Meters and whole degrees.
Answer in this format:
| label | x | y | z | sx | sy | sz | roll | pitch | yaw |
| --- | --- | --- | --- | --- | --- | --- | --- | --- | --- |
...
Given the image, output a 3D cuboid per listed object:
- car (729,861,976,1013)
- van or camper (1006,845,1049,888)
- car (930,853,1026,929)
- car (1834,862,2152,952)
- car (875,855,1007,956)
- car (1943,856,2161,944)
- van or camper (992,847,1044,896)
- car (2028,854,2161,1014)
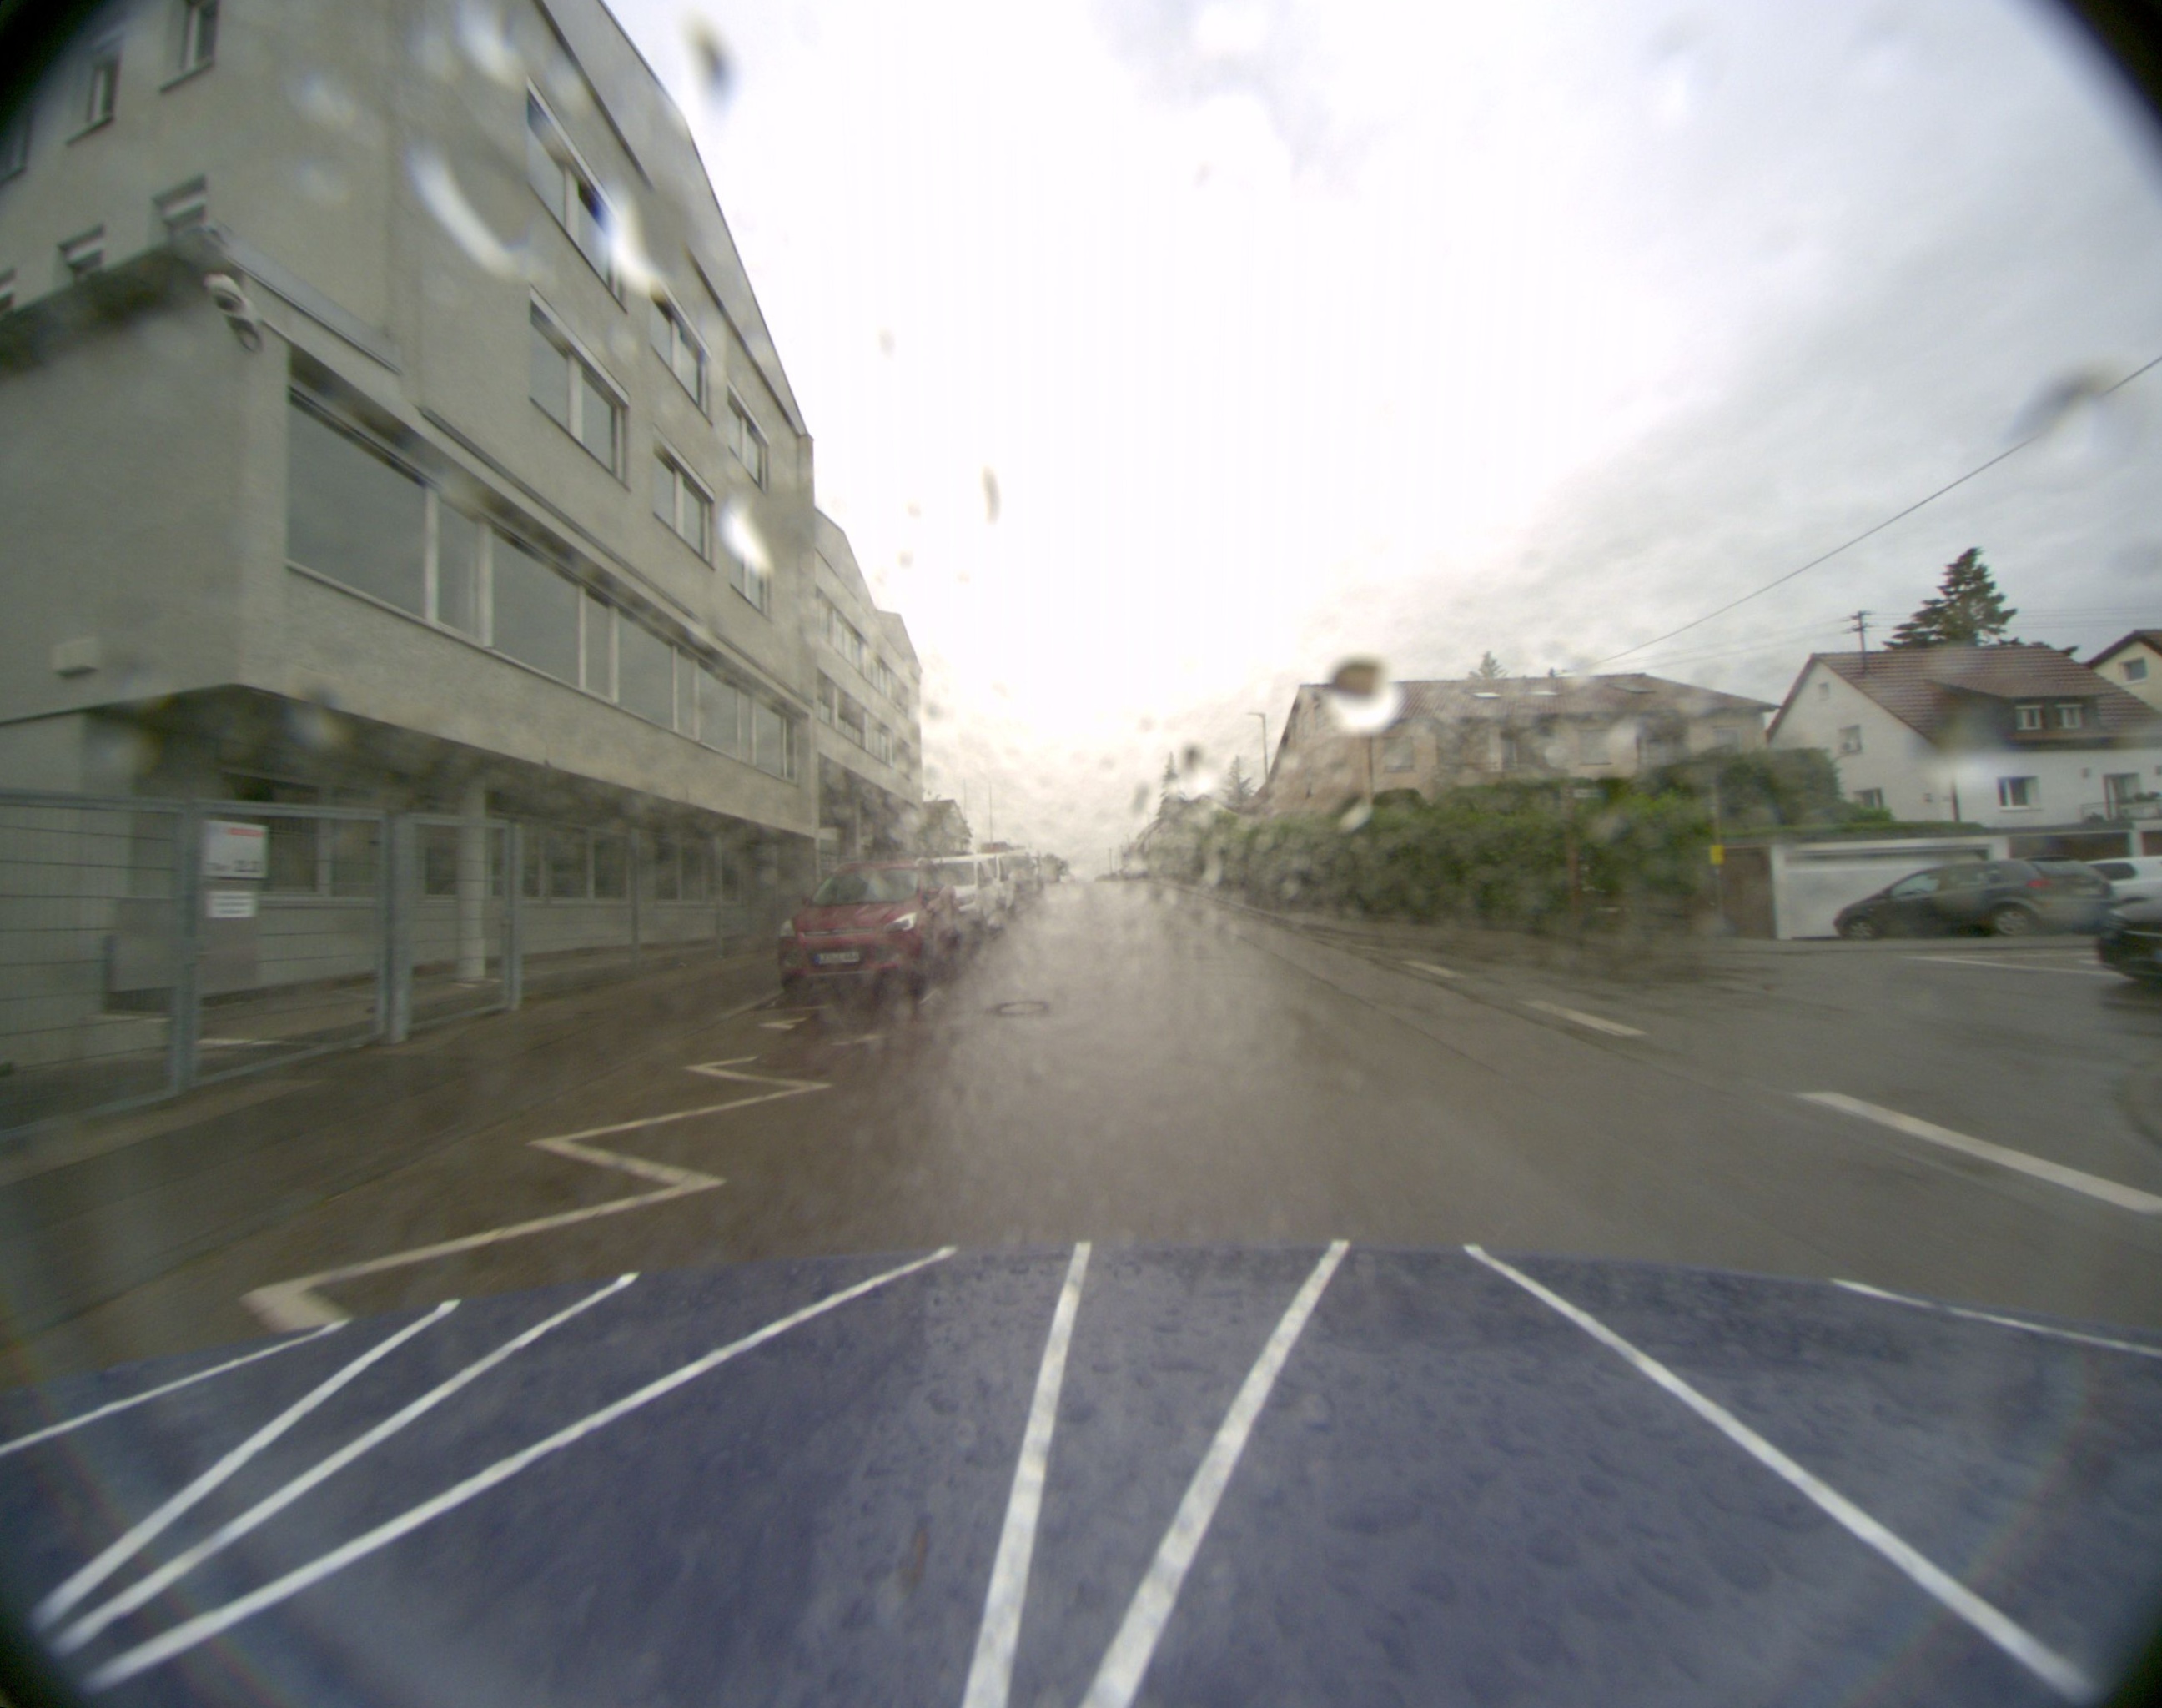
| label | x | y | z | sx | sy | sz | roll | pitch | yaw |
| --- | --- | --- | --- | --- | --- | --- | --- | --- | --- |
| car | -2.943 | 0.974 | 11.121 | 1.998 | 1.634 | 4.958 | -2 | 0 | 1 |
| van or camper | -2.908 | 0.676 | 42.373 | 1.999 | 2.229 | 5.441 | -1 | -1 | 0 |
| car | -2.881 | 0.968 | 22.343 | 1.998 | 1.923 | 4.976 | -2 | 0 | 1 |
| car | 17.154 | 1.116 | 14.600 | 1.722 | 1.446 | 3.449 | 0 | -8 | -3 |
| car | -2.828 | 0.965 | 16.350 | 1.883 | 1.823 | 4.489 | -2 | 0 | 1 |
| car | 19.550 | 0.968 | 14.676 | 1.647 | 1.428 | 3.449 | 0 | -8 | -3 |
| van or camper | -2.864 | 0.787 | 35.571 | 1.999 | 2.101 | 5.203 | -1 | -1 | 0 |
| car | 11.832 | 0.656 | 6.678 | 4.593 | 1.390 | 1.894 | -1 | 0 | 1 |
